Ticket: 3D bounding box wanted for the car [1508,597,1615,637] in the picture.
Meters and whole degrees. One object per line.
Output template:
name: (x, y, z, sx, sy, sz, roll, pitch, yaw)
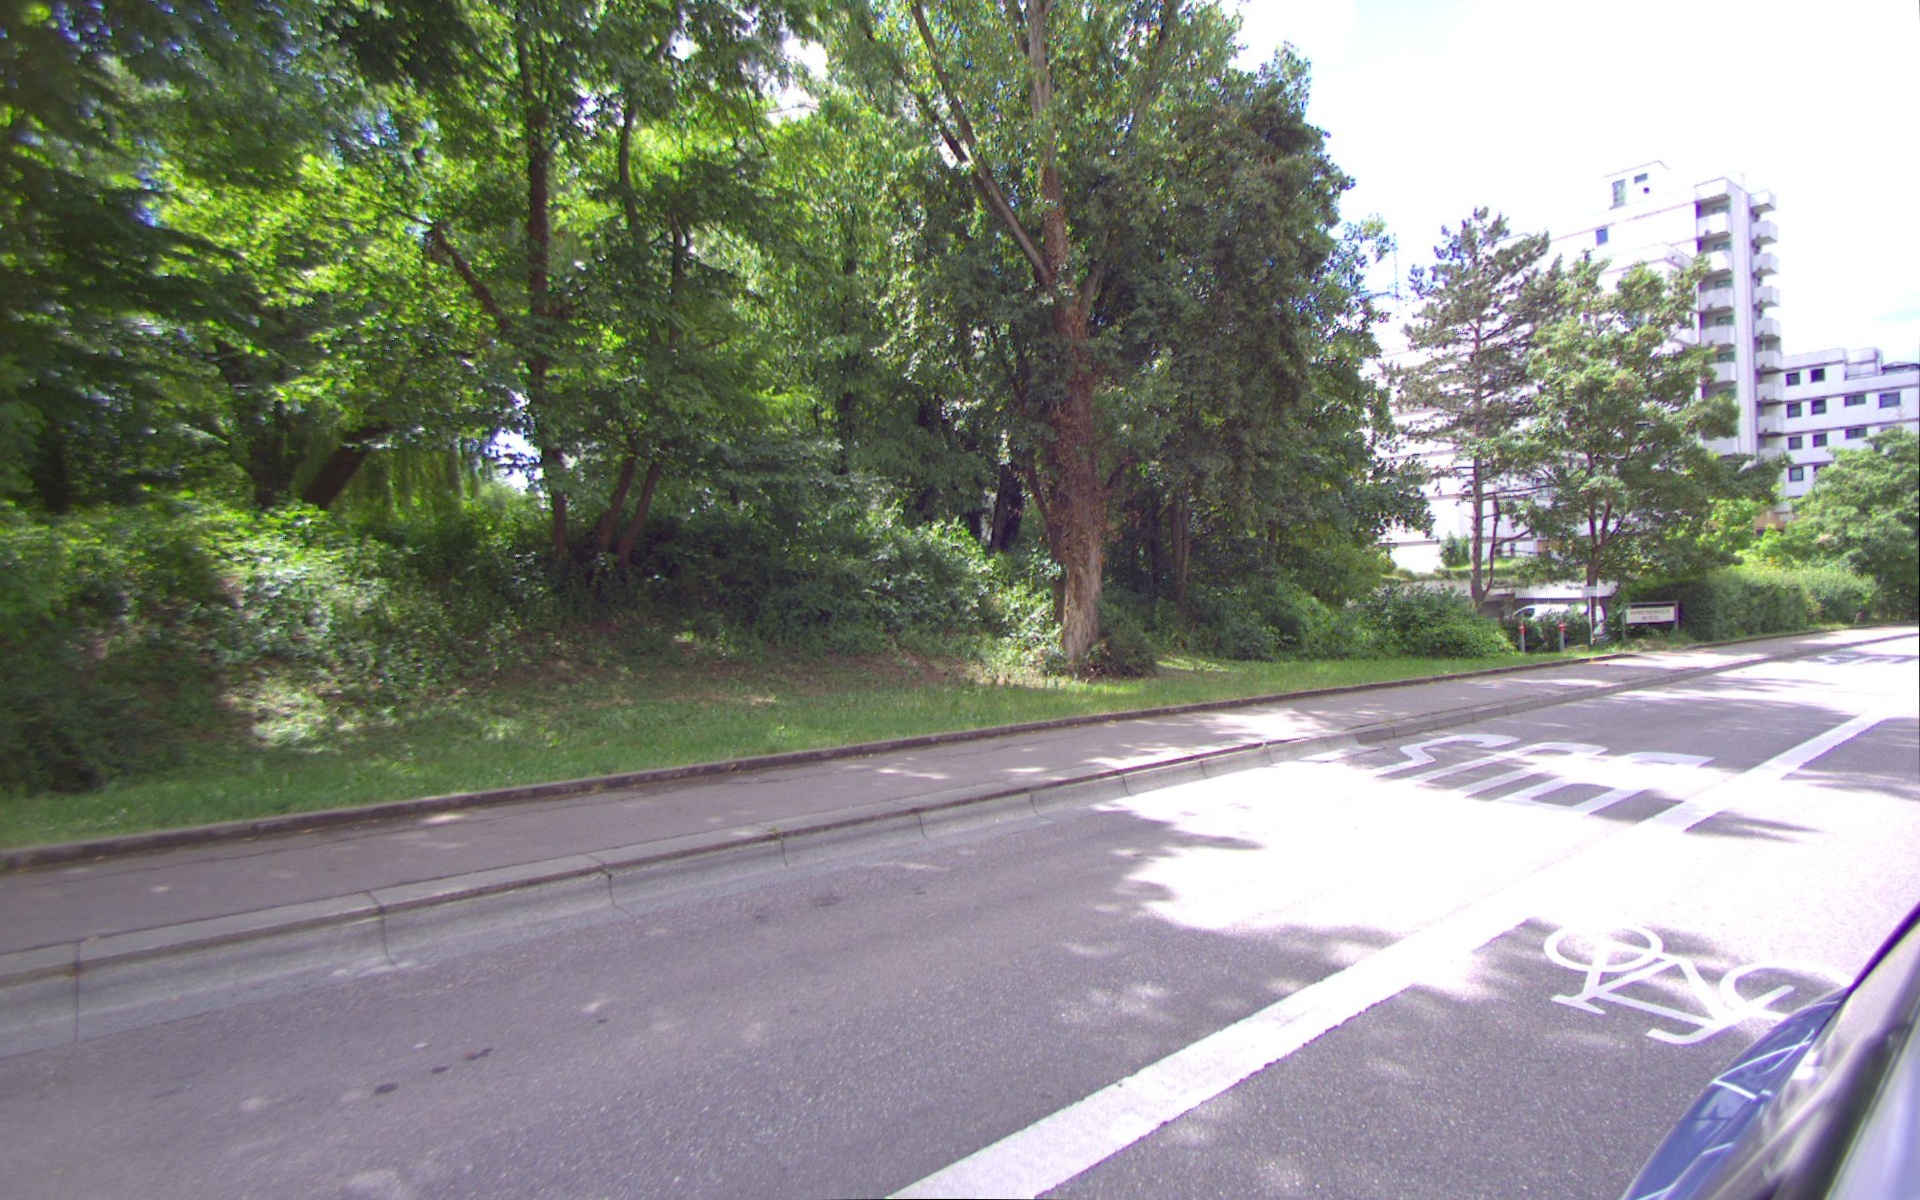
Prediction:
car: (32.334, 0.879, 54.557, 1.962, 2.039, 4.550, -1, 0, -34)
